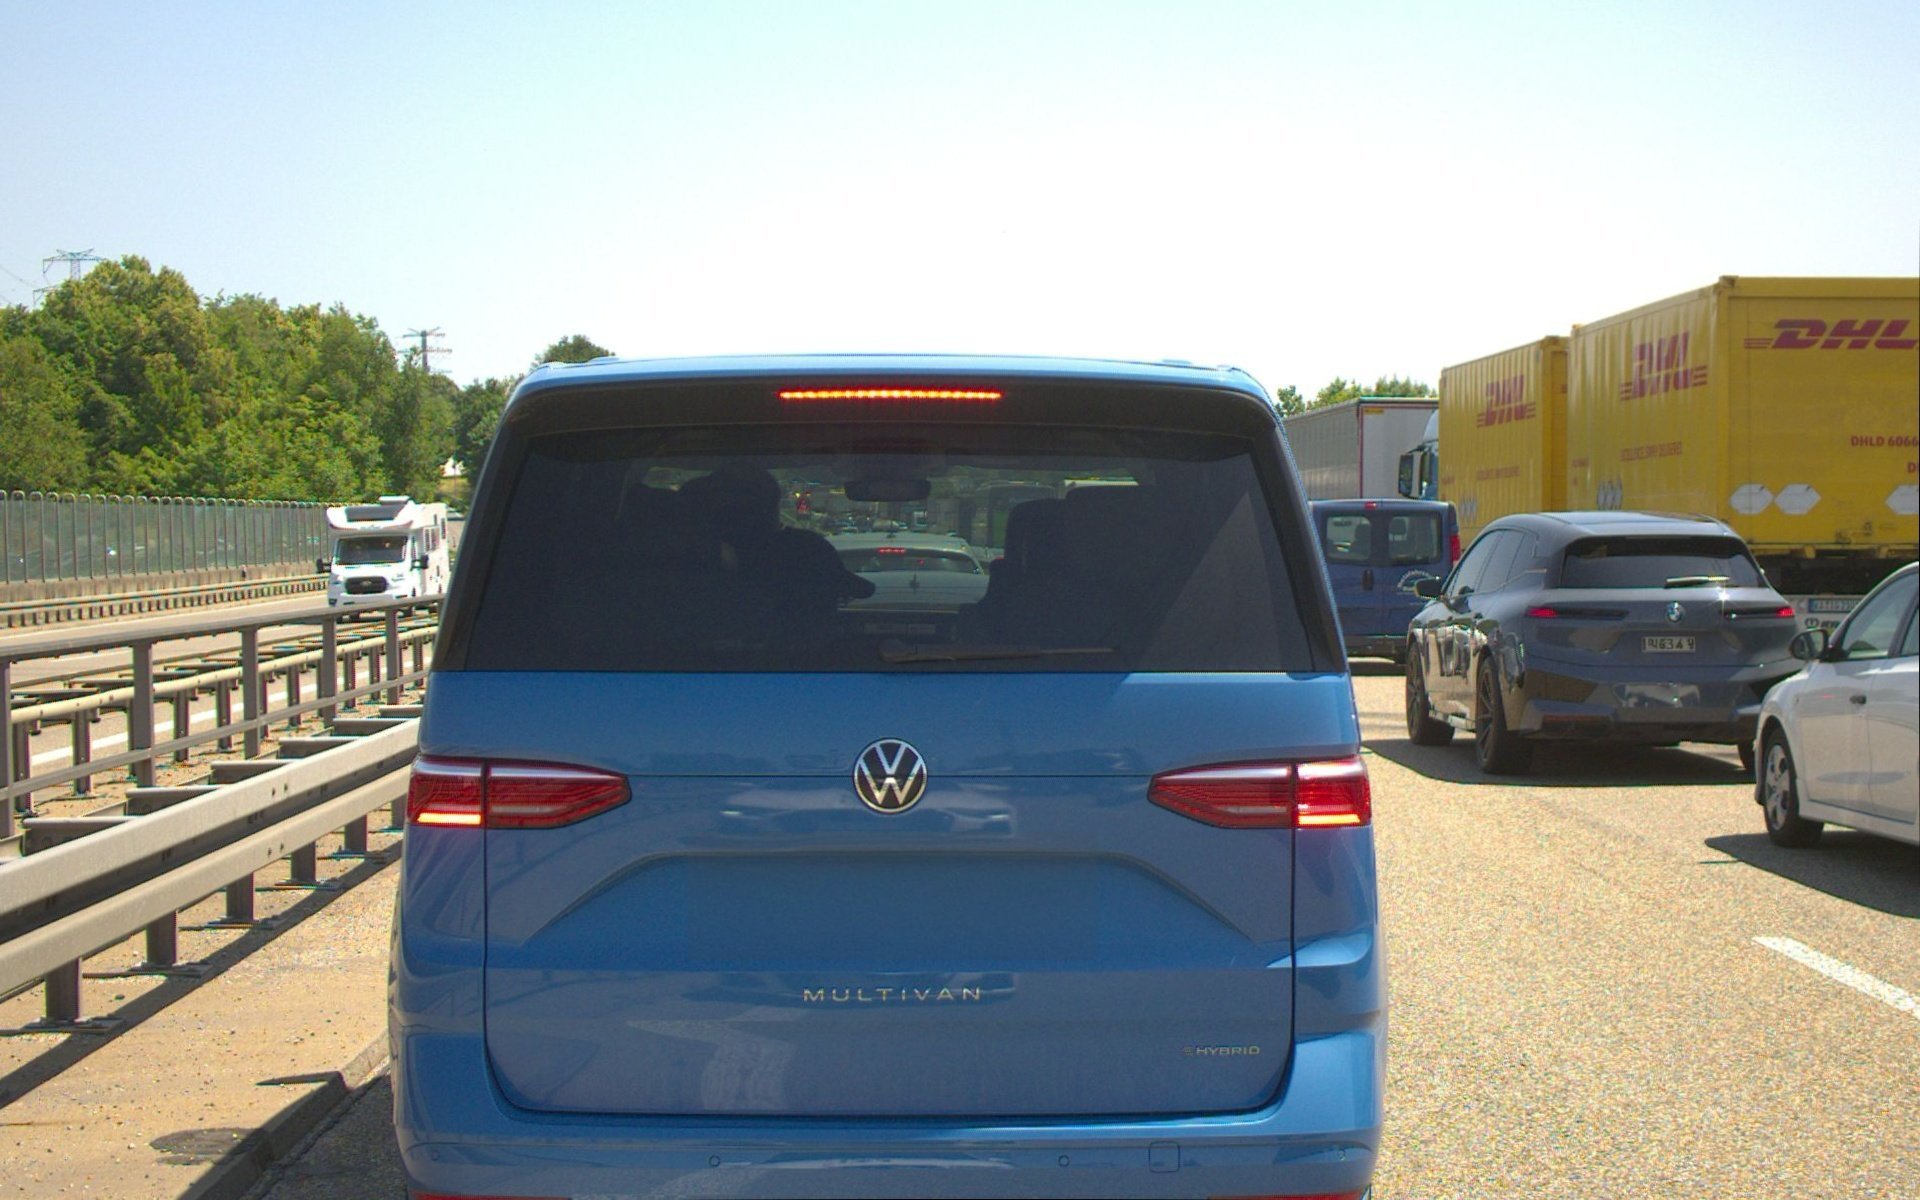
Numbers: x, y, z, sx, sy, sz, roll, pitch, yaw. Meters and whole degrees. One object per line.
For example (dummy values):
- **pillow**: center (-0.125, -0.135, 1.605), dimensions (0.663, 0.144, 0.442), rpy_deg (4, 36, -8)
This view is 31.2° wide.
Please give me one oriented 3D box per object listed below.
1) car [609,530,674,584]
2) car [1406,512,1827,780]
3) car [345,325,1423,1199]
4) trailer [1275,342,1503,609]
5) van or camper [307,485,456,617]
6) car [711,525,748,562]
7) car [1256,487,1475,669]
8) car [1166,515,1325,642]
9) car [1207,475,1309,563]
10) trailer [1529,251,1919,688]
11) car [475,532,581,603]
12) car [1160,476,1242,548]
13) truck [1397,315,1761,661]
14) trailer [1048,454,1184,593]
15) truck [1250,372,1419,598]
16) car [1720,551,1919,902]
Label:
- **car**: center (-11.187, -1.536, 120.898), dimensions (1.867, 1.694, 4.431), rpy_deg (-3, 2, -1)
- **car**: center (4.291, 0.242, 23.159), dimensions (1.962, 1.639, 4.293), rpy_deg (0, 1, -1)
- **car**: center (-0.152, 0.440, 7.908), dimensions (1.820, 1.851, 4.075), rpy_deg (1, 1, -1)
- **trailer**: center (7.812, -2.227, 64.165), dimensions (2.637, 4.501, 11.302), rpy_deg (1, 1, -1)
- **van or camper**: center (-14.105, -1.212, 84.276), dimensions (2.422, 3.013, 7.027), rpy_deg (-2, 1, 0)
- **car**: center (-13.964, -3.453, 208.808), dimensions (1.863, 2.124, 4.268), rpy_deg (-3, 1, 0)
- **car**: center (4.620, -0.276, 39.727), dimensions (1.962, 1.986, 4.293), rpy_deg (0, 1, -1)
- **car**: center (4.209, -0.343, 51.209), dimensions (1.993, 1.809, 4.000), rpy_deg (0, 1, -1)
- **car**: center (7.012, -1.883, 81.141), dimensions (1.993, 2.007, 4.000), rpy_deg (1, 1, -1)
- **trailer**: center (8.565, -1.332, 37.959), dimensions (2.864, 4.224, 9.012), rpy_deg (1, 1, -1)
- **car**: center (-10.163, -0.790, 81.154), dimensions (1.867, 1.526, 4.425), rpy_deg (-4, 1, 0)
- **car**: center (6.890, -2.515, 98.747), dimensions (1.993, 2.007, 4.461), rpy_deg (-1, 1, -1)
- **truck**: center (8.348, -1.465, 47.993), dimensions (2.836, 4.228, 11.011), rpy_deg (1, 1, -1)
- **trailer**: center (3.532, -1.726, 80.213), dimensions (2.569, 2.980, 10.663), rpy_deg (1, 1, 0)
- **truck**: center (7.721, -2.321, 71.682), dimensions (2.667, 4.469, 6.850), rpy_deg (1, 1, 0)
- **car**: center (4.875, 0.508, 15.725), dimensions (1.788, 1.450, 4.293), rpy_deg (0, 1, -1)
